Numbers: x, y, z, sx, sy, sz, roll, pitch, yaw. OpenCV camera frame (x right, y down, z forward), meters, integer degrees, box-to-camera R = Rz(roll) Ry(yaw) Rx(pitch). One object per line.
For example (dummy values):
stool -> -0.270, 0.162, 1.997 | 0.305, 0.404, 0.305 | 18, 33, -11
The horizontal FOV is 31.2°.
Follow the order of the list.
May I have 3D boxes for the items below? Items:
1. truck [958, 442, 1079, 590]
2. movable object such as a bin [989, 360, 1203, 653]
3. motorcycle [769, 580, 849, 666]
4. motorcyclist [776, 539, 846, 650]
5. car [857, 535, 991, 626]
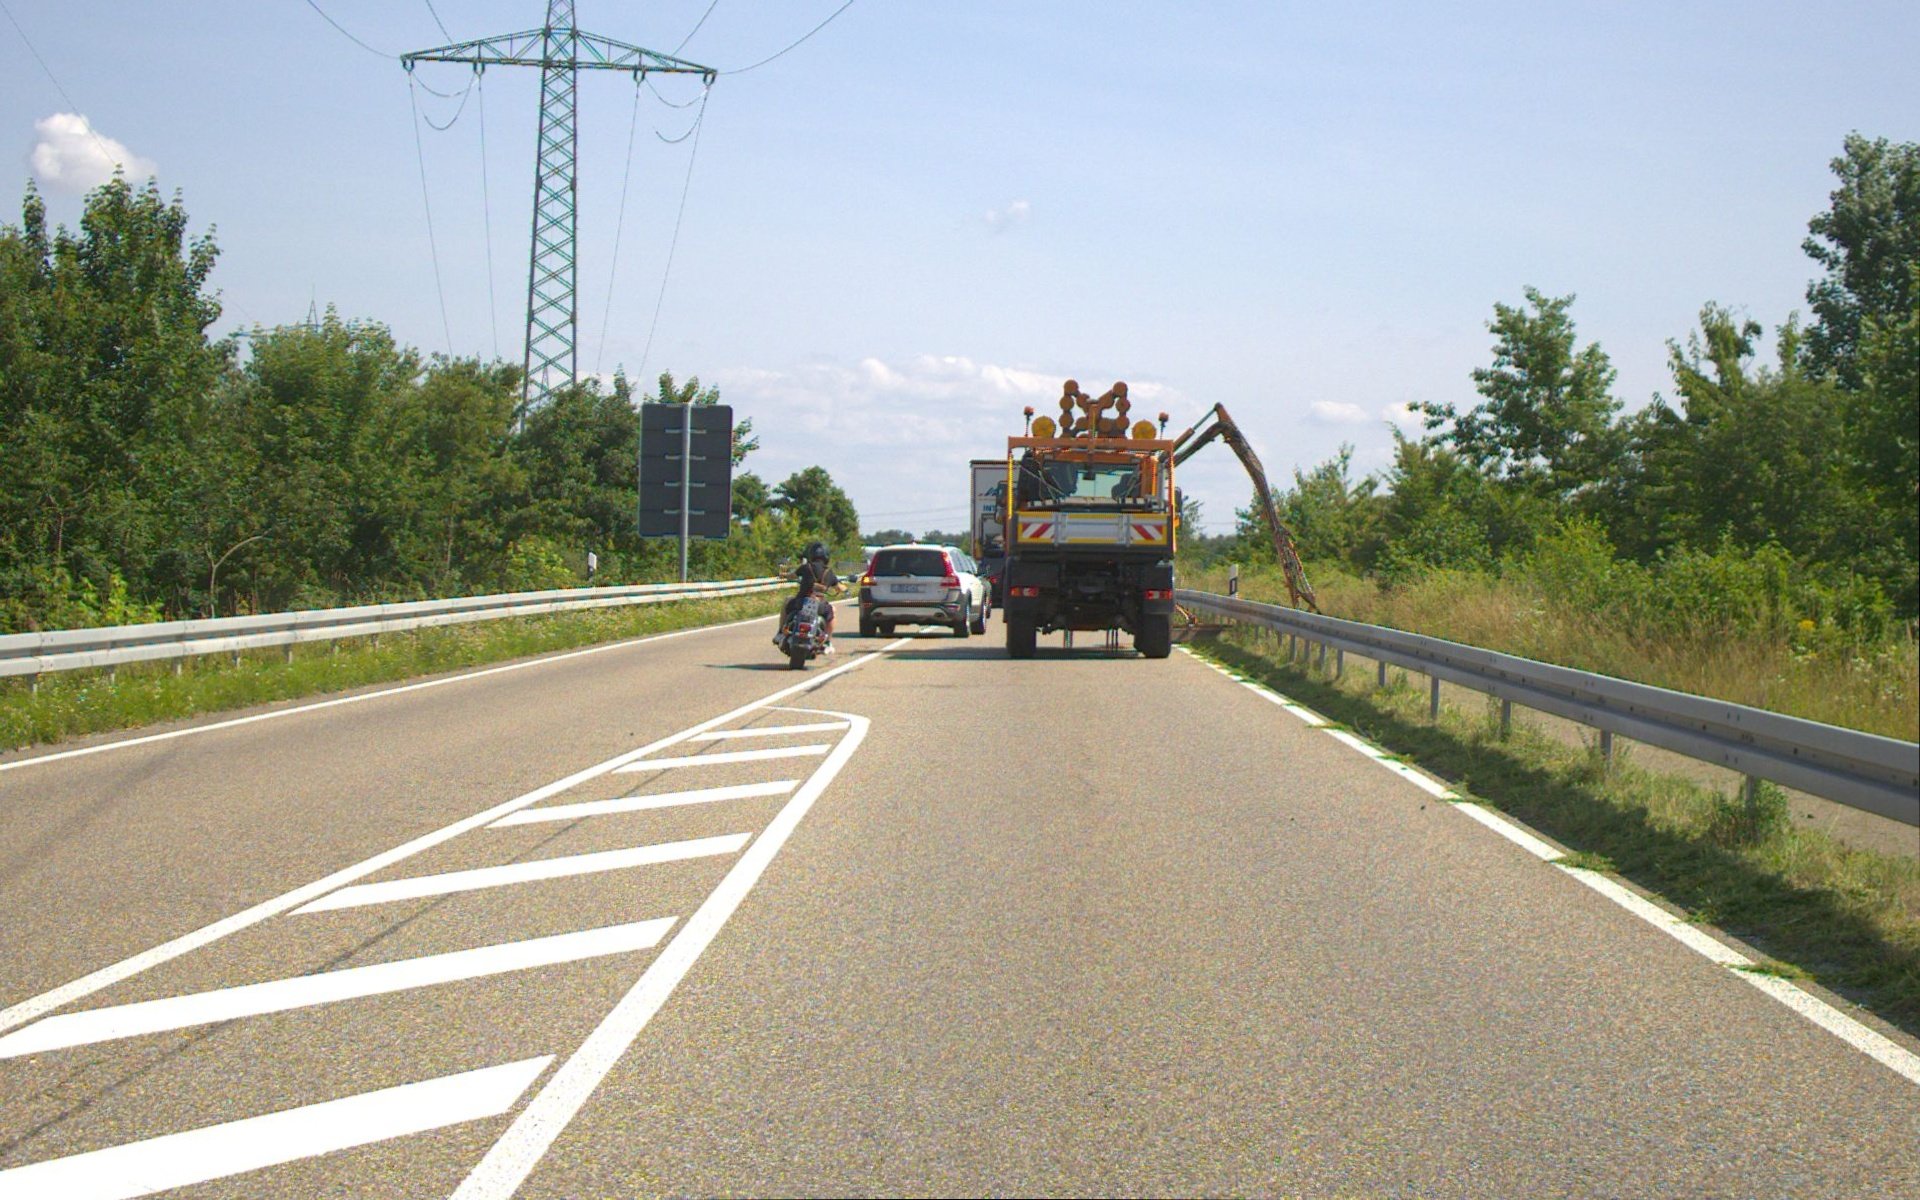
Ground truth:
truck -> 1.724, -2.326, 98.130 | 3.242, 3.965, 9.443 | 1, 1, 2
movable object such as a bin -> 1.956, -1.325, 49.952 | 2.753, 3.826, 9.445 | 1, 1, 2
motorcycle -> -1.811, 0.266, 41.607 | 0.780, 0.972, 2.361 | 1, 1, 2
motorcyclist -> -1.801, -0.072, 41.712 | 0.780, 1.321, 0.813 | 1, 1, 2
car -> -0.569, -0.357, 58.132 | 1.826, 1.446, 3.999 | 1, 1, 6
